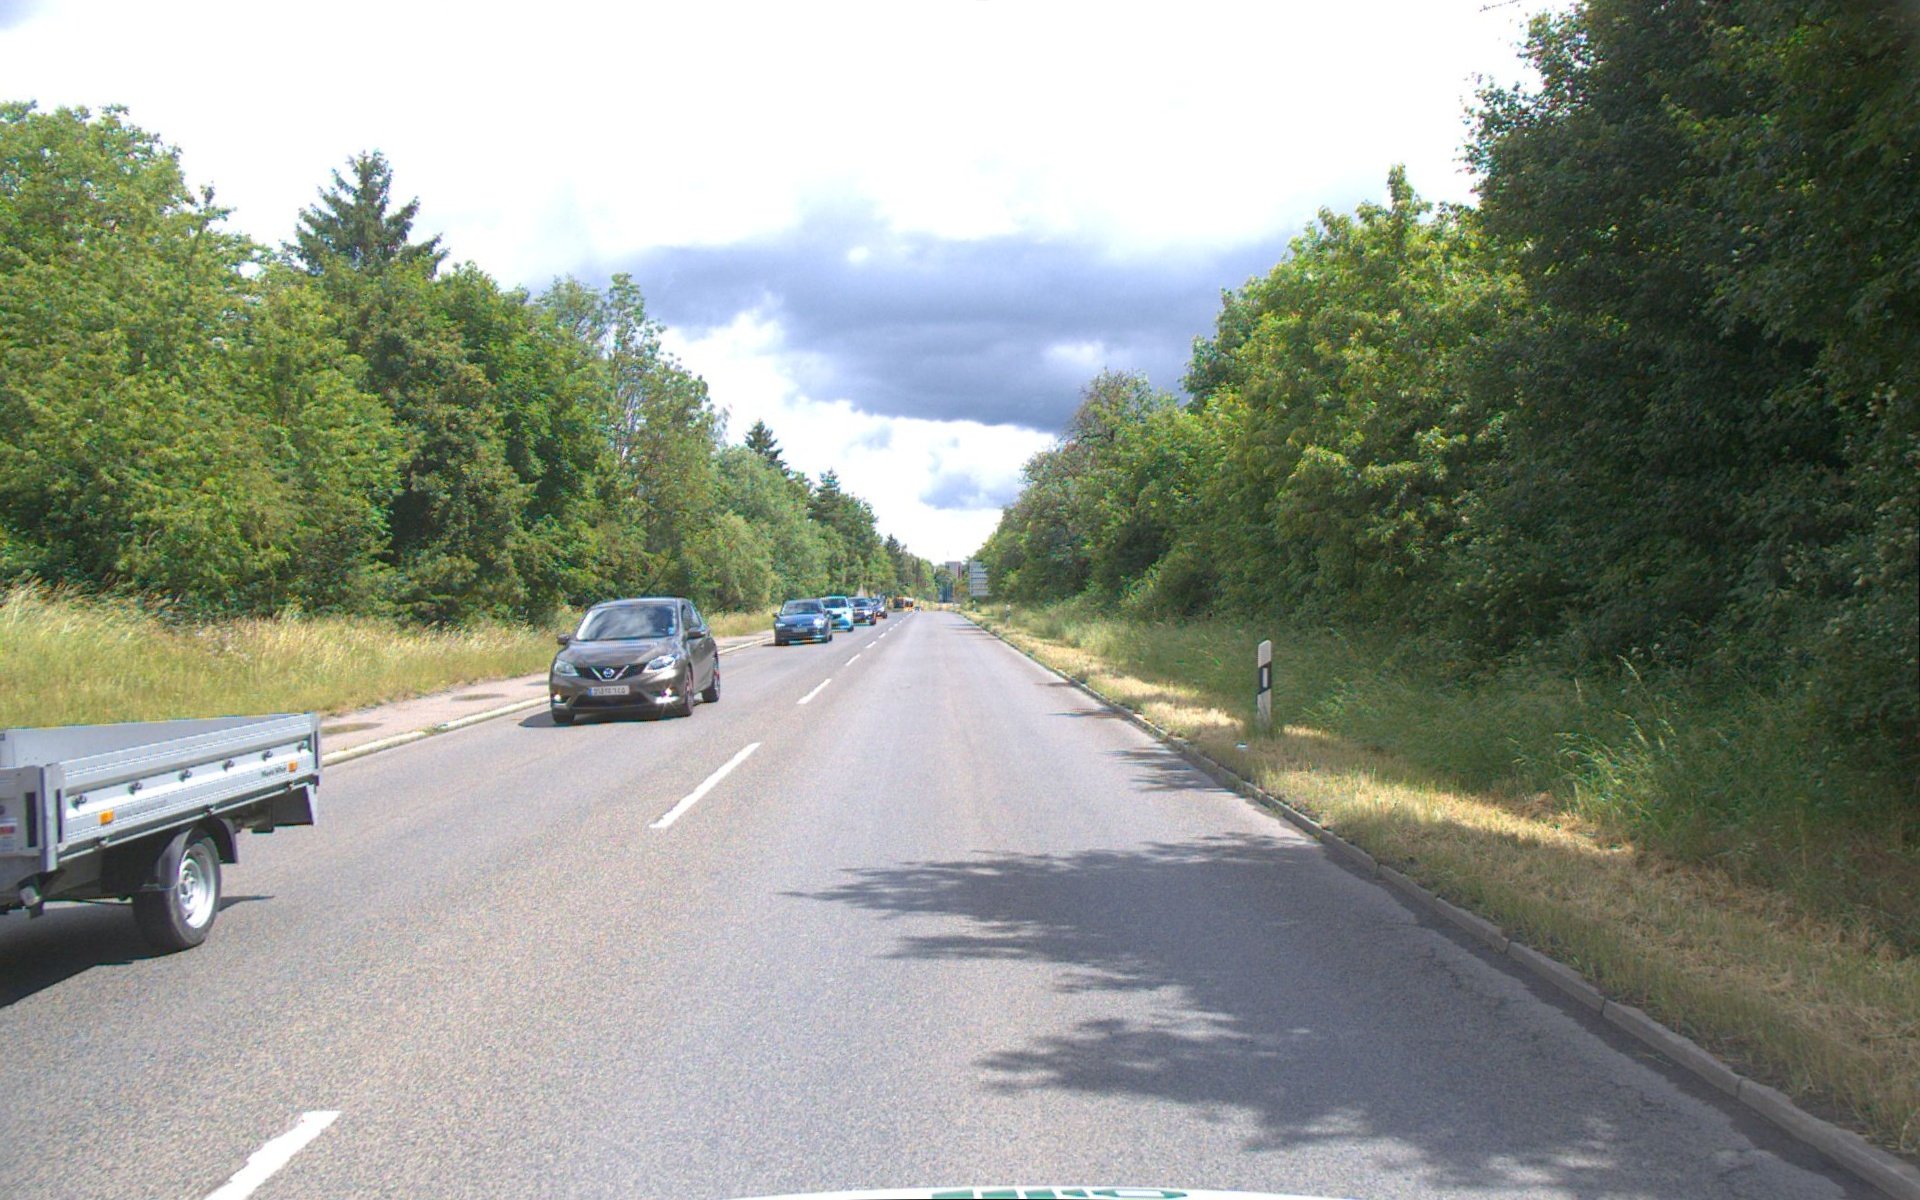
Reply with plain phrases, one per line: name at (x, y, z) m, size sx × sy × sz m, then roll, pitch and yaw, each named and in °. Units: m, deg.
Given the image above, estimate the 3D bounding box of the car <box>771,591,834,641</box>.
car at (-5.201, 0.502, 55.110) m, size 1.748 × 1.471 × 4.451 m, roll -3°, pitch 1°, yaw -2°

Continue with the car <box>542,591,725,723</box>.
car at (-4.252, 0.679, 22.098) m, size 1.682 × 1.496 × 3.999 m, roll -3°, pitch 1°, yaw -2°

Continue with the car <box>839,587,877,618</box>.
car at (-5.458, 0.131, 88.585) m, size 1.846 × 1.517 × 4.715 m, roll -3°, pitch 1°, yaw -2°

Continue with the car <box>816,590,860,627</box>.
car at (-5.275, 0.335, 71.846) m, size 1.748 × 1.471 × 2.965 m, roll -3°, pitch 1°, yaw -2°

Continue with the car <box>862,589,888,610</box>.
car at (-6.061, -0.033, 118.098) m, size 1.748 × 1.357 × 4.621 m, roll -3°, pitch 1°, yaw -2°

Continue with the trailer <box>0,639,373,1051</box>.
trailer at (-4.106, 0.890, 7.017) m, size 1.853 × 1.221 × 3.916 m, roll -3°, pitch 1°, yaw -1°
